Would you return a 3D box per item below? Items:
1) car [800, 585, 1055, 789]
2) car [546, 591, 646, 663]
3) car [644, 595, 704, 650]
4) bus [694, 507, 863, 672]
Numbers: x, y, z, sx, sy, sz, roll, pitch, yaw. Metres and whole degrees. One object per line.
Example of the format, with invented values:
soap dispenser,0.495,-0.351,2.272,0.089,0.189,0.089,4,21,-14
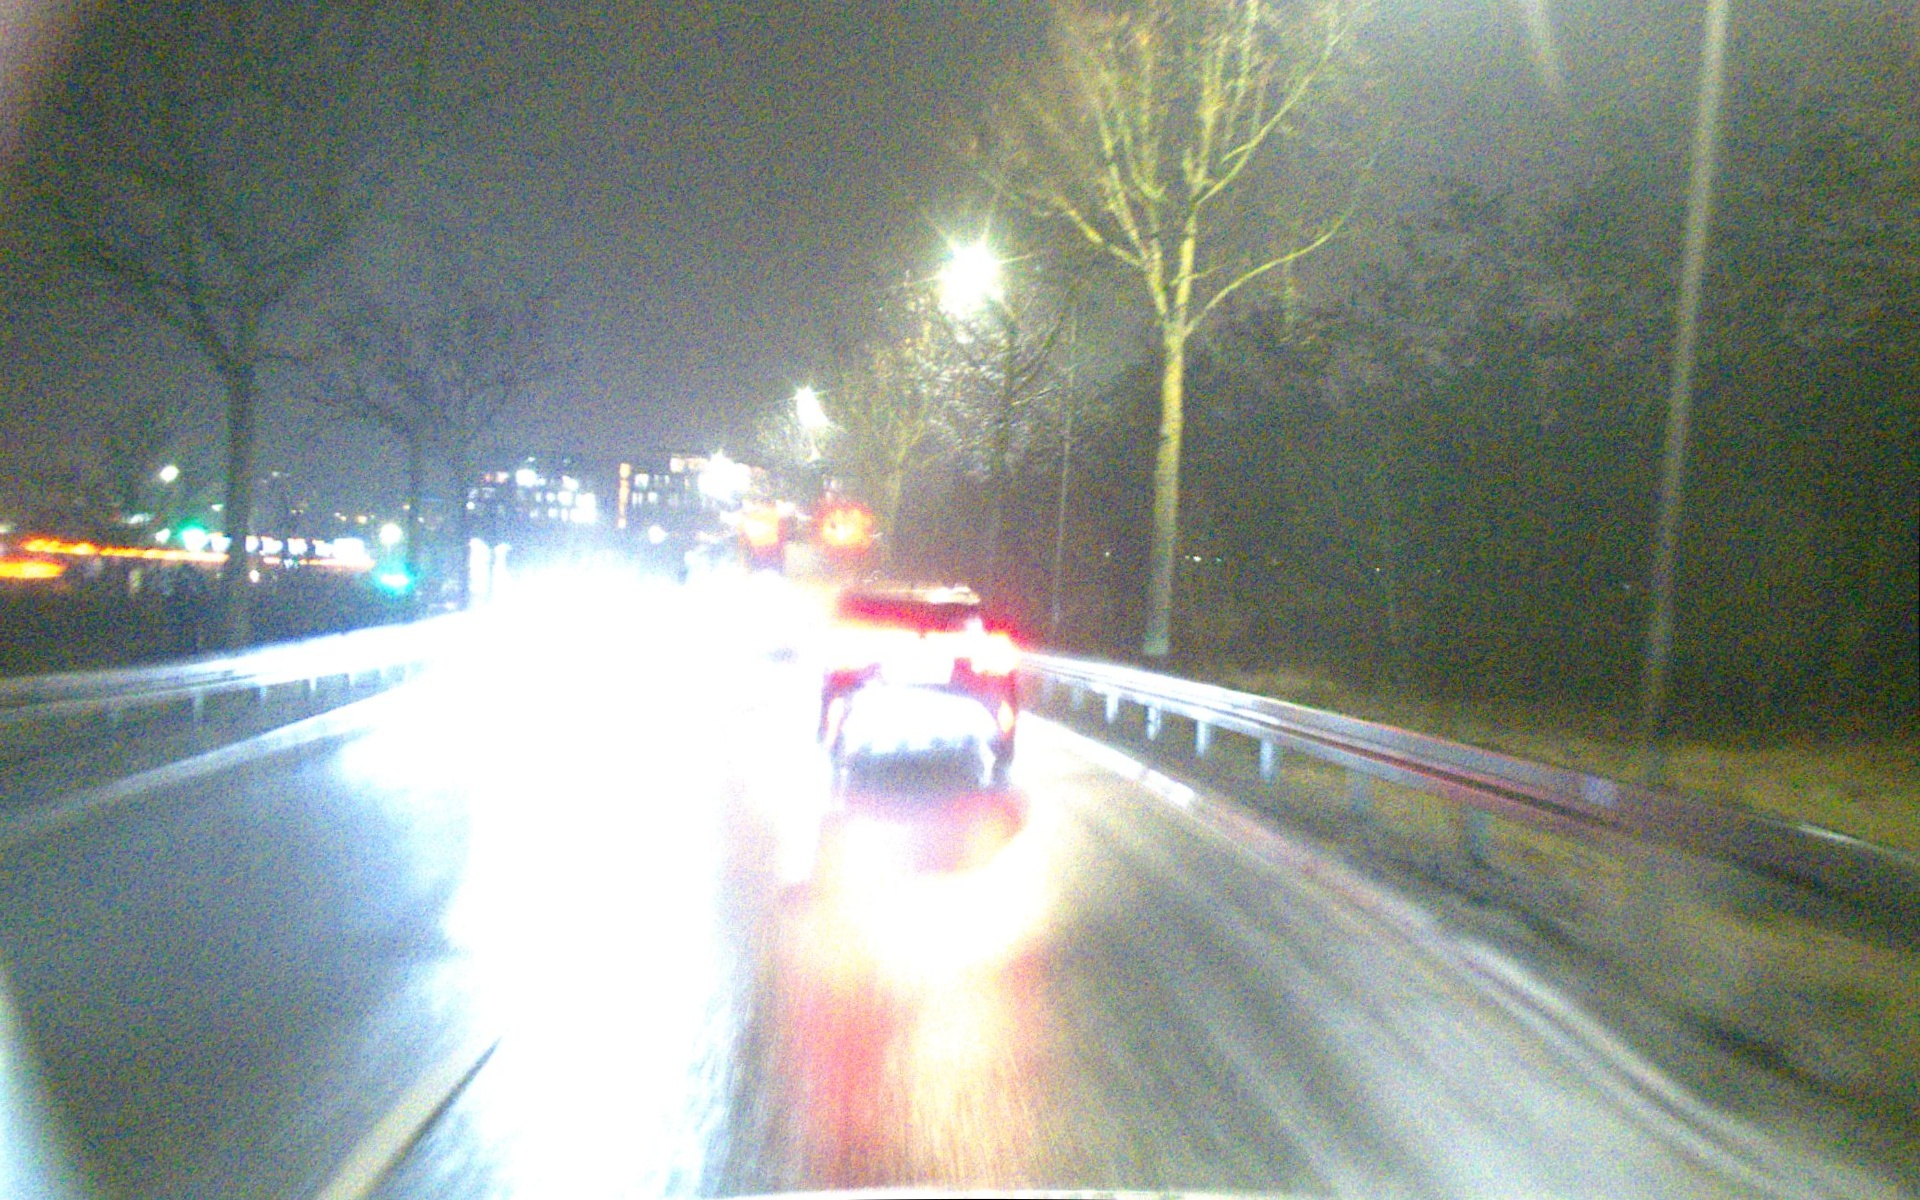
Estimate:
car,-0.329,0.672,14.924,1.953,1.551,3.998,1,0,-2
car,-7.703,0.568,35.351,1.759,1.416,4.582,0,-1,-9
car,-13.551,1.016,78.088,2.650,2.521,5.290,0,0,-12
bus,-4.316,-0.209,37.431,2.989,3.269,9.024,0,0,-11
